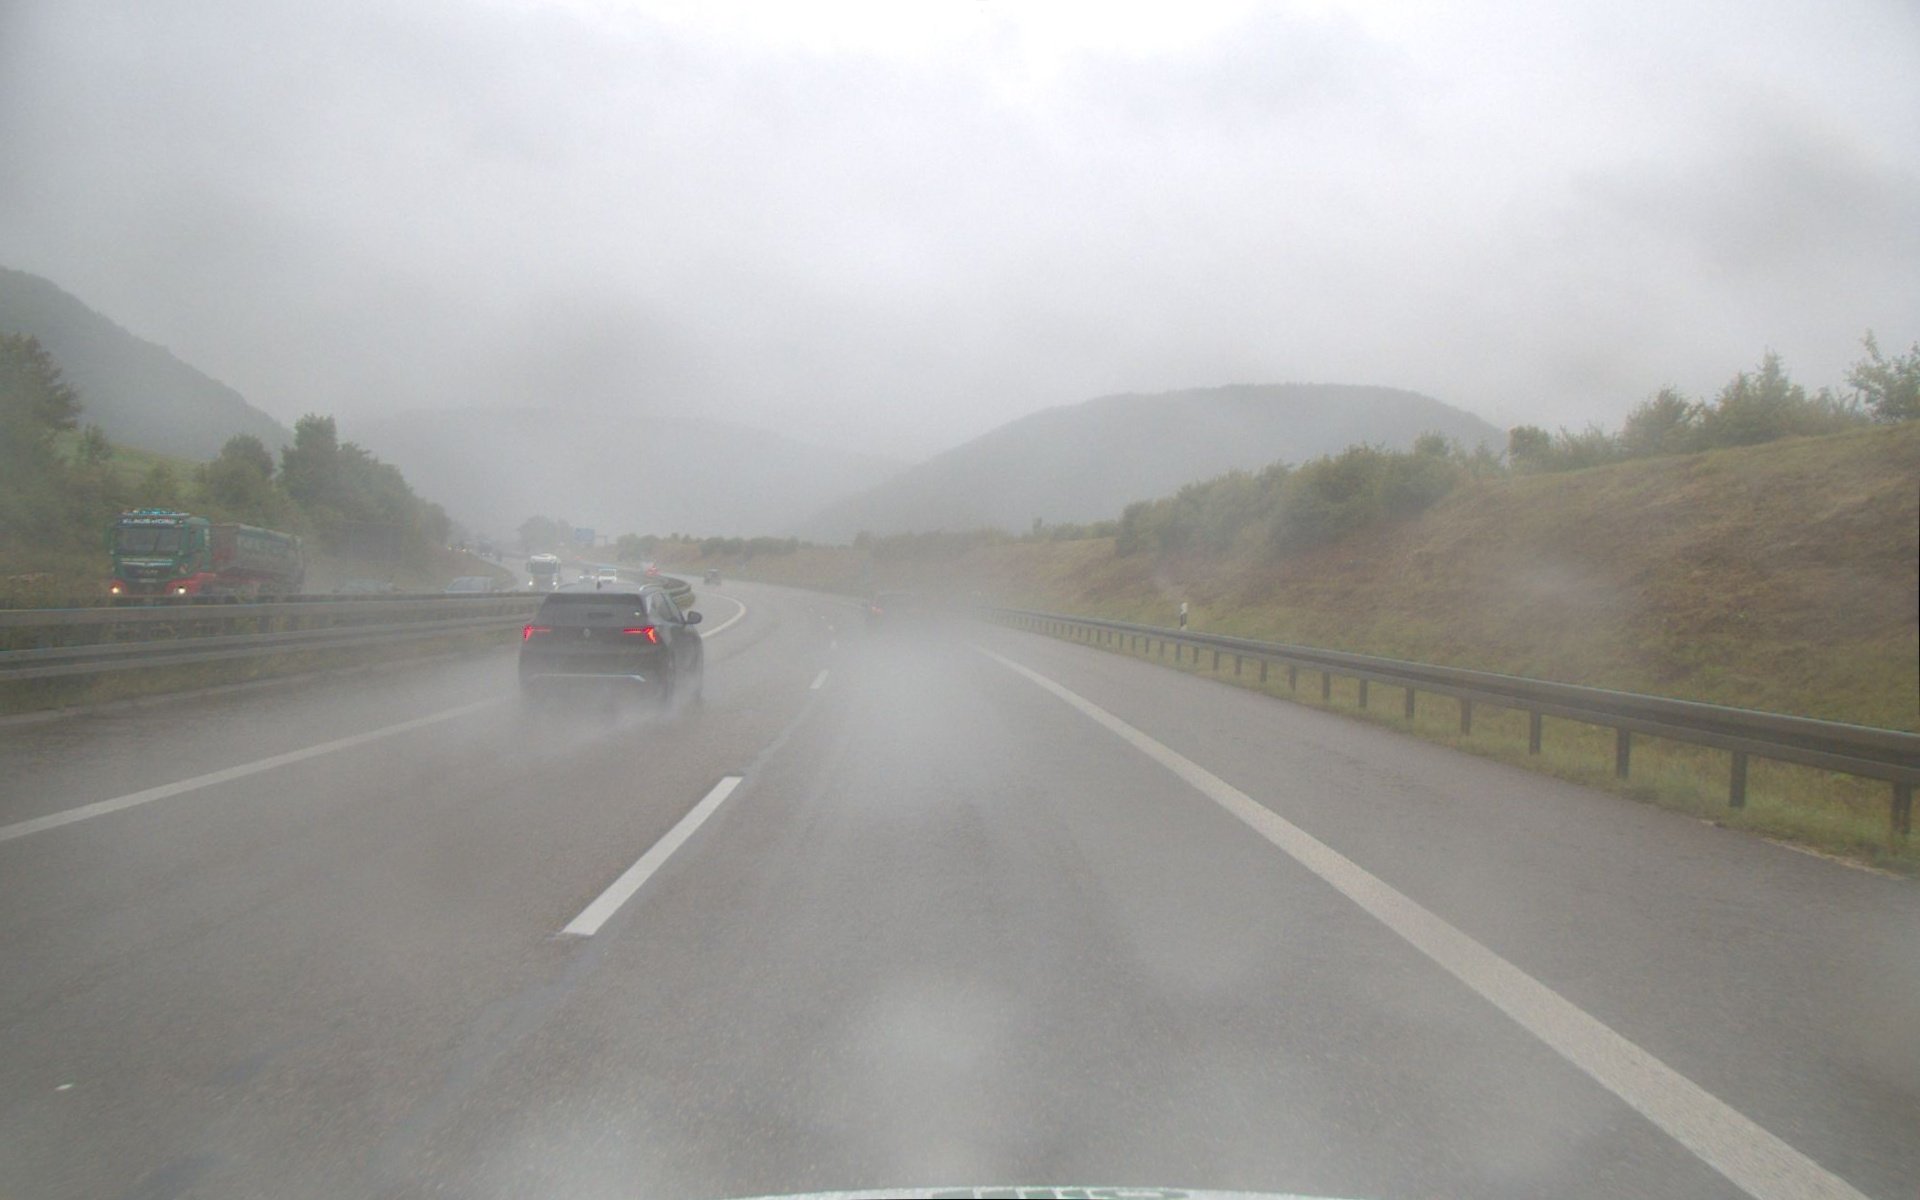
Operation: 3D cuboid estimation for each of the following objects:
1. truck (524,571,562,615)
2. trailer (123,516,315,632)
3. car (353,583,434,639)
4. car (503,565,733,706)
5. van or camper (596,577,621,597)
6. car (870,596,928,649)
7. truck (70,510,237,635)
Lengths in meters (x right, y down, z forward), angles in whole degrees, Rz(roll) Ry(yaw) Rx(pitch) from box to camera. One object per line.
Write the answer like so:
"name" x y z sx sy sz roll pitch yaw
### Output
"truck" -36.963 -0.629 146.677 2.831 3.868 5.303 1 1 -10
"trailer" -24.910 -0.840 56.225 2.665 3.552 9.390 1 0 -3
"car" -21.447 0.388 62.779 1.876 2.049 3.997 1 0 -4
"car" -4.264 0.415 21.457 2.359 1.542 4.778 2 0 -6
"van or camper" -35.392 -1.303 166.693 1.956 1.910 5.338 0 1 -7
"car" -1.851 0.666 50.302 1.645 1.498 3.813 2 0 -2
"truck" -24.663 -0.825 50.858 2.662 3.604 5.307 1 0 -3
